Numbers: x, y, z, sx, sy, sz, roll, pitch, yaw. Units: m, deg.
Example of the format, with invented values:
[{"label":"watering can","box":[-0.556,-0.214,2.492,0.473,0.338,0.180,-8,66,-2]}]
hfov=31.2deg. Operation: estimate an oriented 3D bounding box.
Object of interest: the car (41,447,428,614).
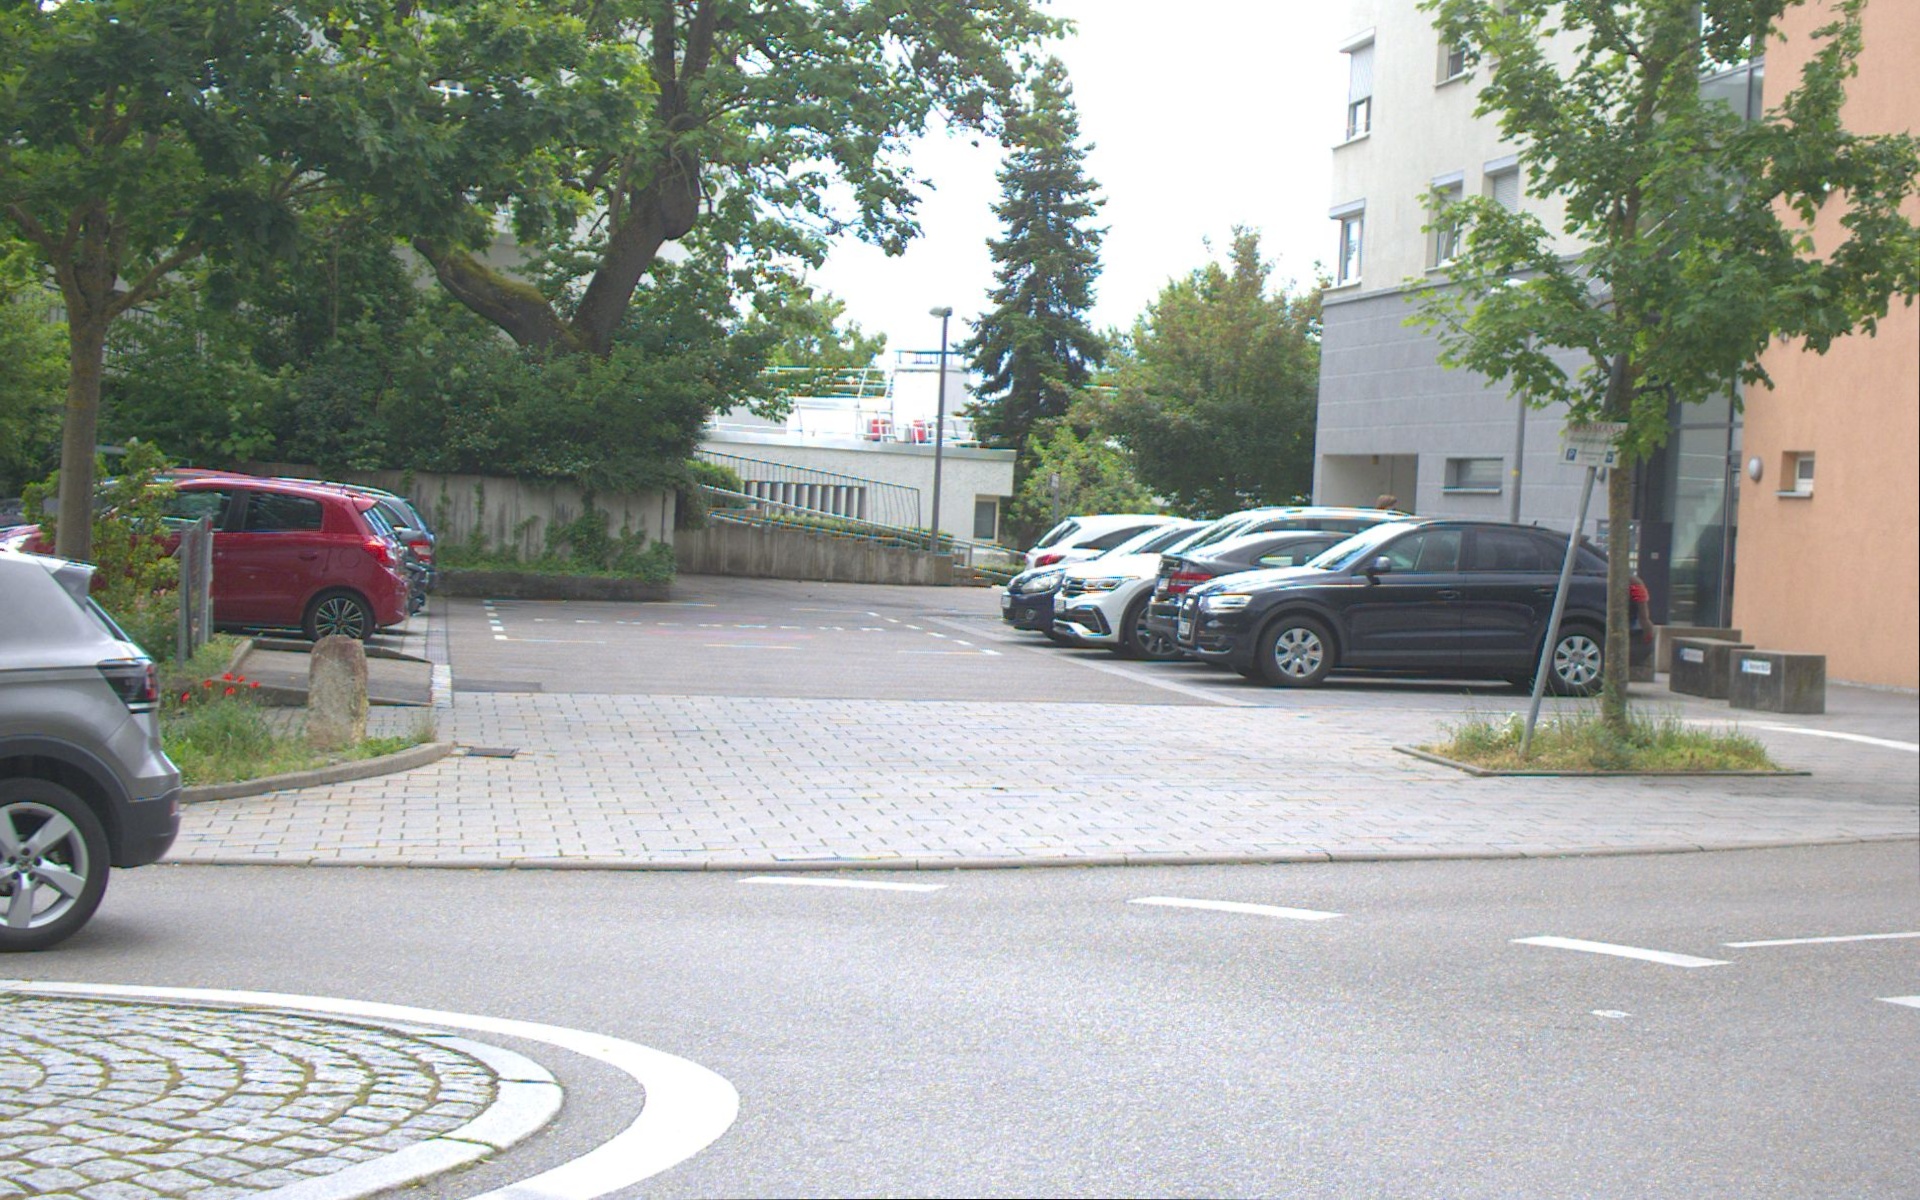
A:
[{"label":"car","box":[-7.937,-0.749,37.668,3.986,1.608,1.945,2,0,-13]}]

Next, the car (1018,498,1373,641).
[{"label":"car","box":[2.801,-0.365,41.420,3.980,1.512,1.757,2,0,-5]}]

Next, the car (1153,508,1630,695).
[{"label":"car","box":[3.955,0.011,31.867,4.040,1.512,1.756,2,0,-5]}]

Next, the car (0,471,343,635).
[{"label":"car","box":[-8.214,-0.482,35.253,3.649,1.493,1.685,2,0,-10]}]

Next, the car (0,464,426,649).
[{"label":"car","box":[-6.624,-0.380,30.454,3.649,1.434,1.685,2,0,-10]}]

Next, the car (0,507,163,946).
[{"label":"car","box":[-5.171,0.451,12.741,3.996,1.612,1.722,0,0,-28]}]

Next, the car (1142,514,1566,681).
[{"label":"car","box":[3.843,-0.028,33.917,3.826,1.454,1.693,2,0,-5]}]

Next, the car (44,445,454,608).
[{"label":"car","box":[-8.342,-0.847,40.386,4.542,1.662,1.945,2,0,-13]}]

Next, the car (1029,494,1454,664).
[{"label":"car","box":[2.961,-0.220,36.507,4.118,1.588,1.693,2,0,-12]}]

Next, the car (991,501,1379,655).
[{"label":"car","box":[2.480,-0.249,38.464,4.040,1.512,1.756,2,0,-5]}]

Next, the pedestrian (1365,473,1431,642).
[{"label":"pedestrian","box":[4.867,-0.476,38.222,0.478,1.846,0.507,2,0,-18]}]
